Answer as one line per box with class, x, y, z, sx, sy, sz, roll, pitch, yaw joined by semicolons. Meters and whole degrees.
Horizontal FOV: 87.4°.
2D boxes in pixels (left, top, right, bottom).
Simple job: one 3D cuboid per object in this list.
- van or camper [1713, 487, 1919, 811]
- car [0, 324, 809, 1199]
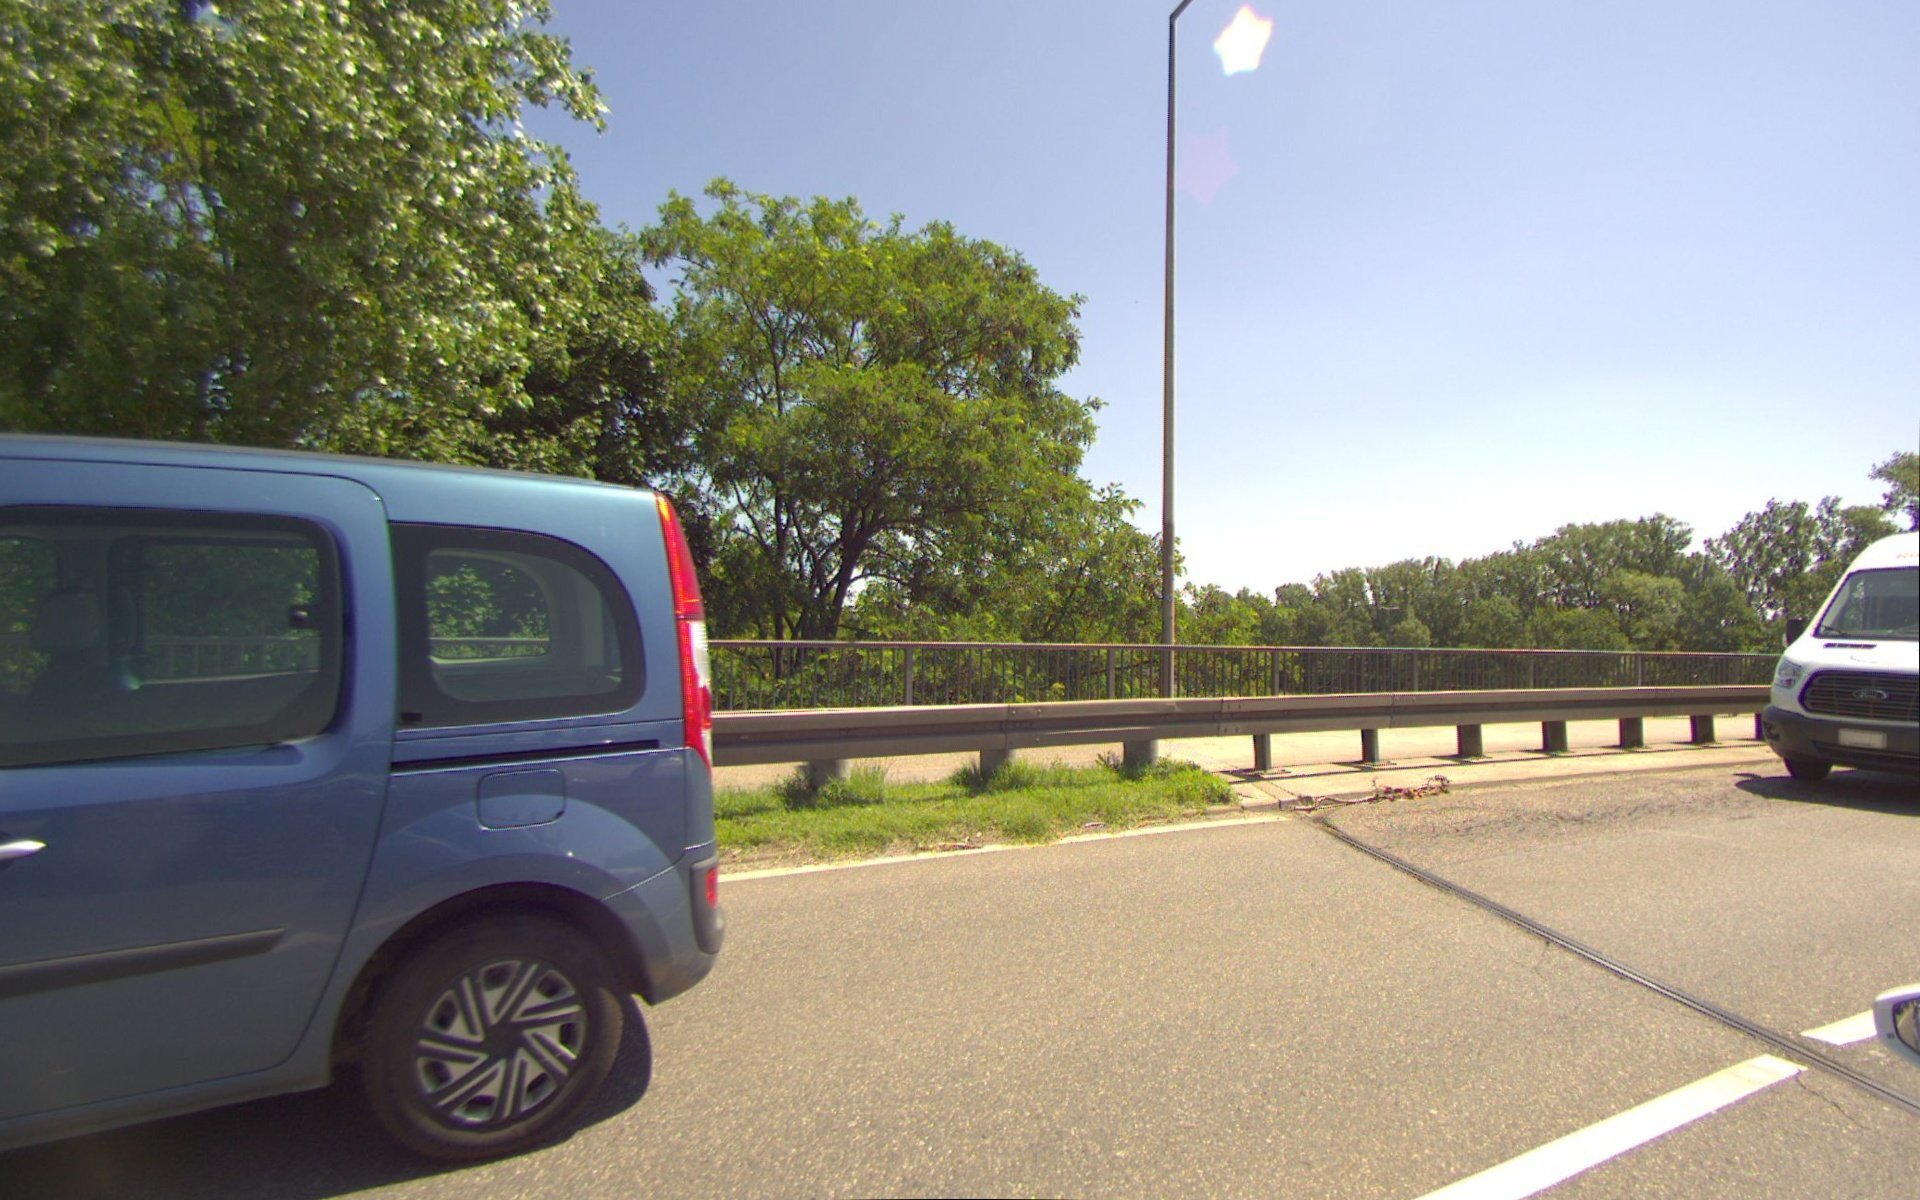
van or camper;10.066;0.436;9.600;5.802;2.571;2.043;1;0;-24
car;-2.703;0.371;2.546;4.226;1.880;1.747;2;0;-31
